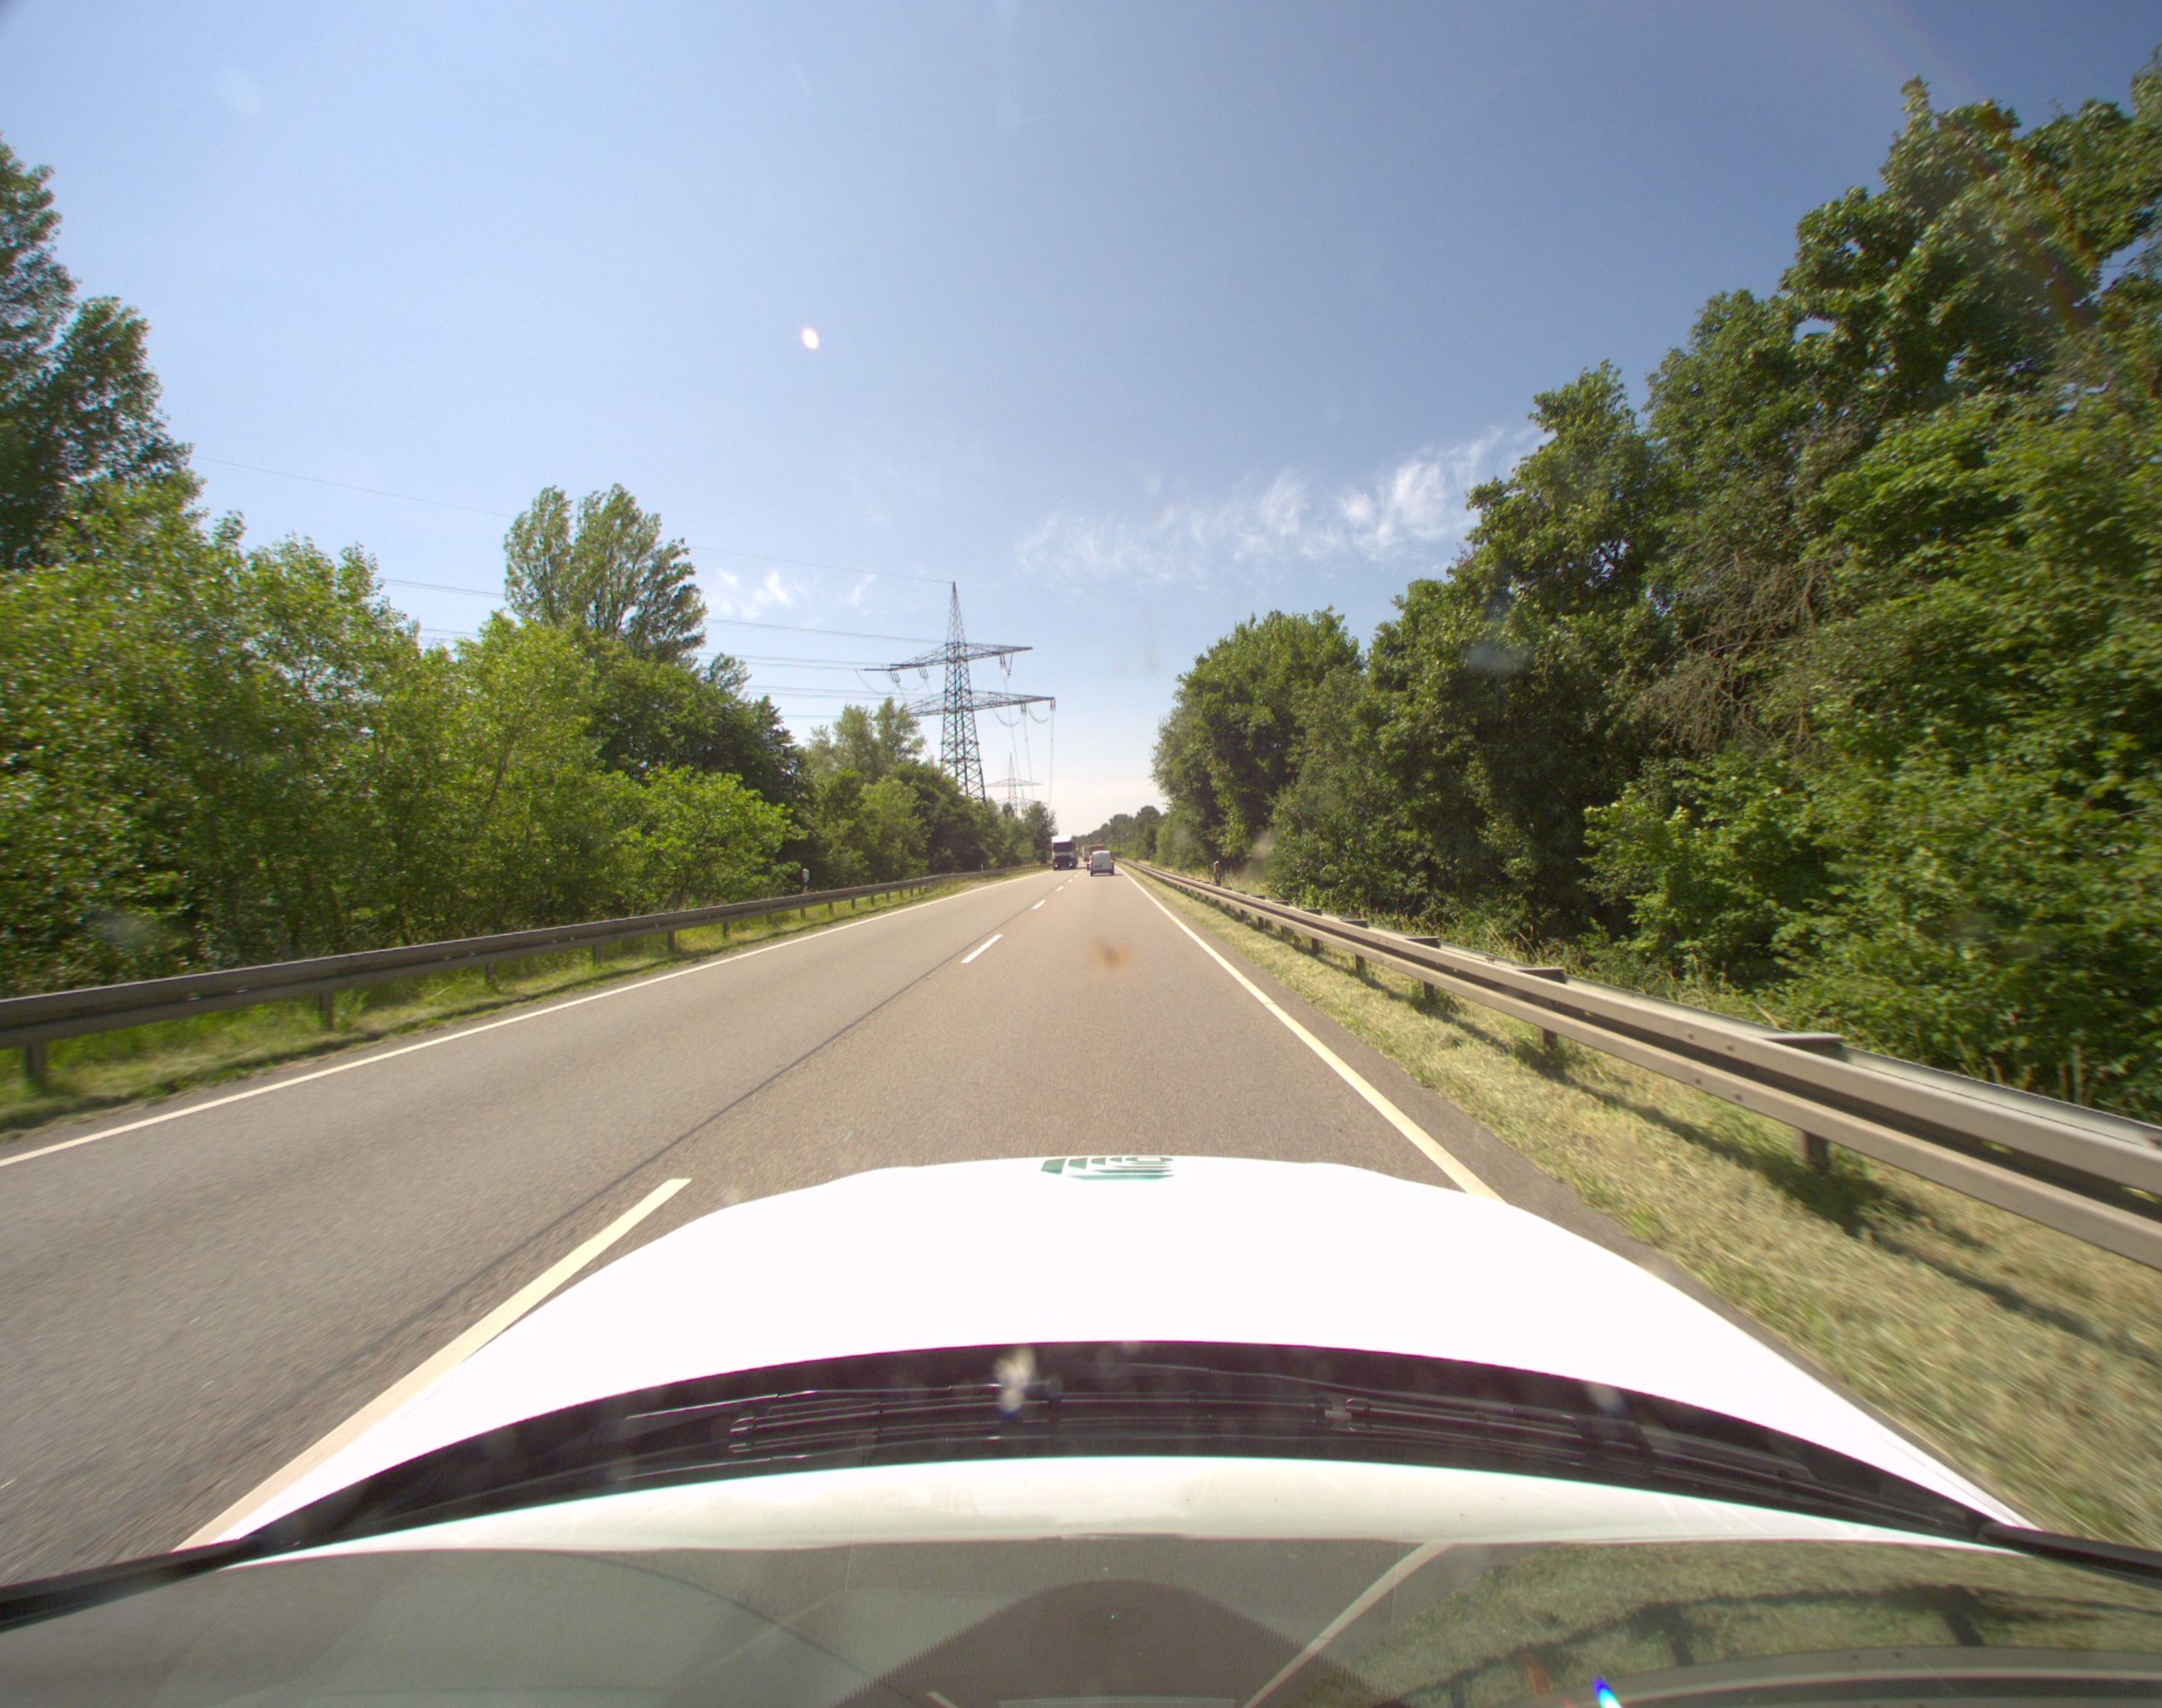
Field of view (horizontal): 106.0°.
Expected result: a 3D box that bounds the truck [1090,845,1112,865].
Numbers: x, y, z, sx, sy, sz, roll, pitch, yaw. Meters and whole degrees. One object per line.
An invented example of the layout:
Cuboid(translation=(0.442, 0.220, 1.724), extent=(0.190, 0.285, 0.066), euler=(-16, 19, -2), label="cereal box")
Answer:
Cuboid(translation=(3.296, 0.045, 140.645), extent=(3.287, 3.171, 14.399), euler=(-1, 1, -1), label="truck")

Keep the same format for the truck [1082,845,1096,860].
Cuboid(translation=(2.110, -0.462, 217.934), extent=(3.392, 3.854, 16.812), euler=(-1, 1, -1), label="truck")

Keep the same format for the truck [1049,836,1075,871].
Cuboid(translation=(-2.180, -0.047, 96.305), extent=(2.753, 3.999, 5.908), euler=(-1, 0, 1), label="truck")

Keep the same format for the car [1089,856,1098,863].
Cuboid(translation=(2.788, 1.310, 185.225), extent=(1.987, 1.526, 3.999), euler=(-4, 0, 0), label="car")

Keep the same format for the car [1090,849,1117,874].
Cuboid(translation=(1.647, 0.557, 60.062), extent=(1.868, 1.741, 4.001), euler=(-1, 0, 1), label="car")

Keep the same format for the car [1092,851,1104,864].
Cuboid(translation=(2.691, 0.511, 129.050), extent=(1.758, 2.013, 3.998), euler=(-1, 0, -1), label="car")
